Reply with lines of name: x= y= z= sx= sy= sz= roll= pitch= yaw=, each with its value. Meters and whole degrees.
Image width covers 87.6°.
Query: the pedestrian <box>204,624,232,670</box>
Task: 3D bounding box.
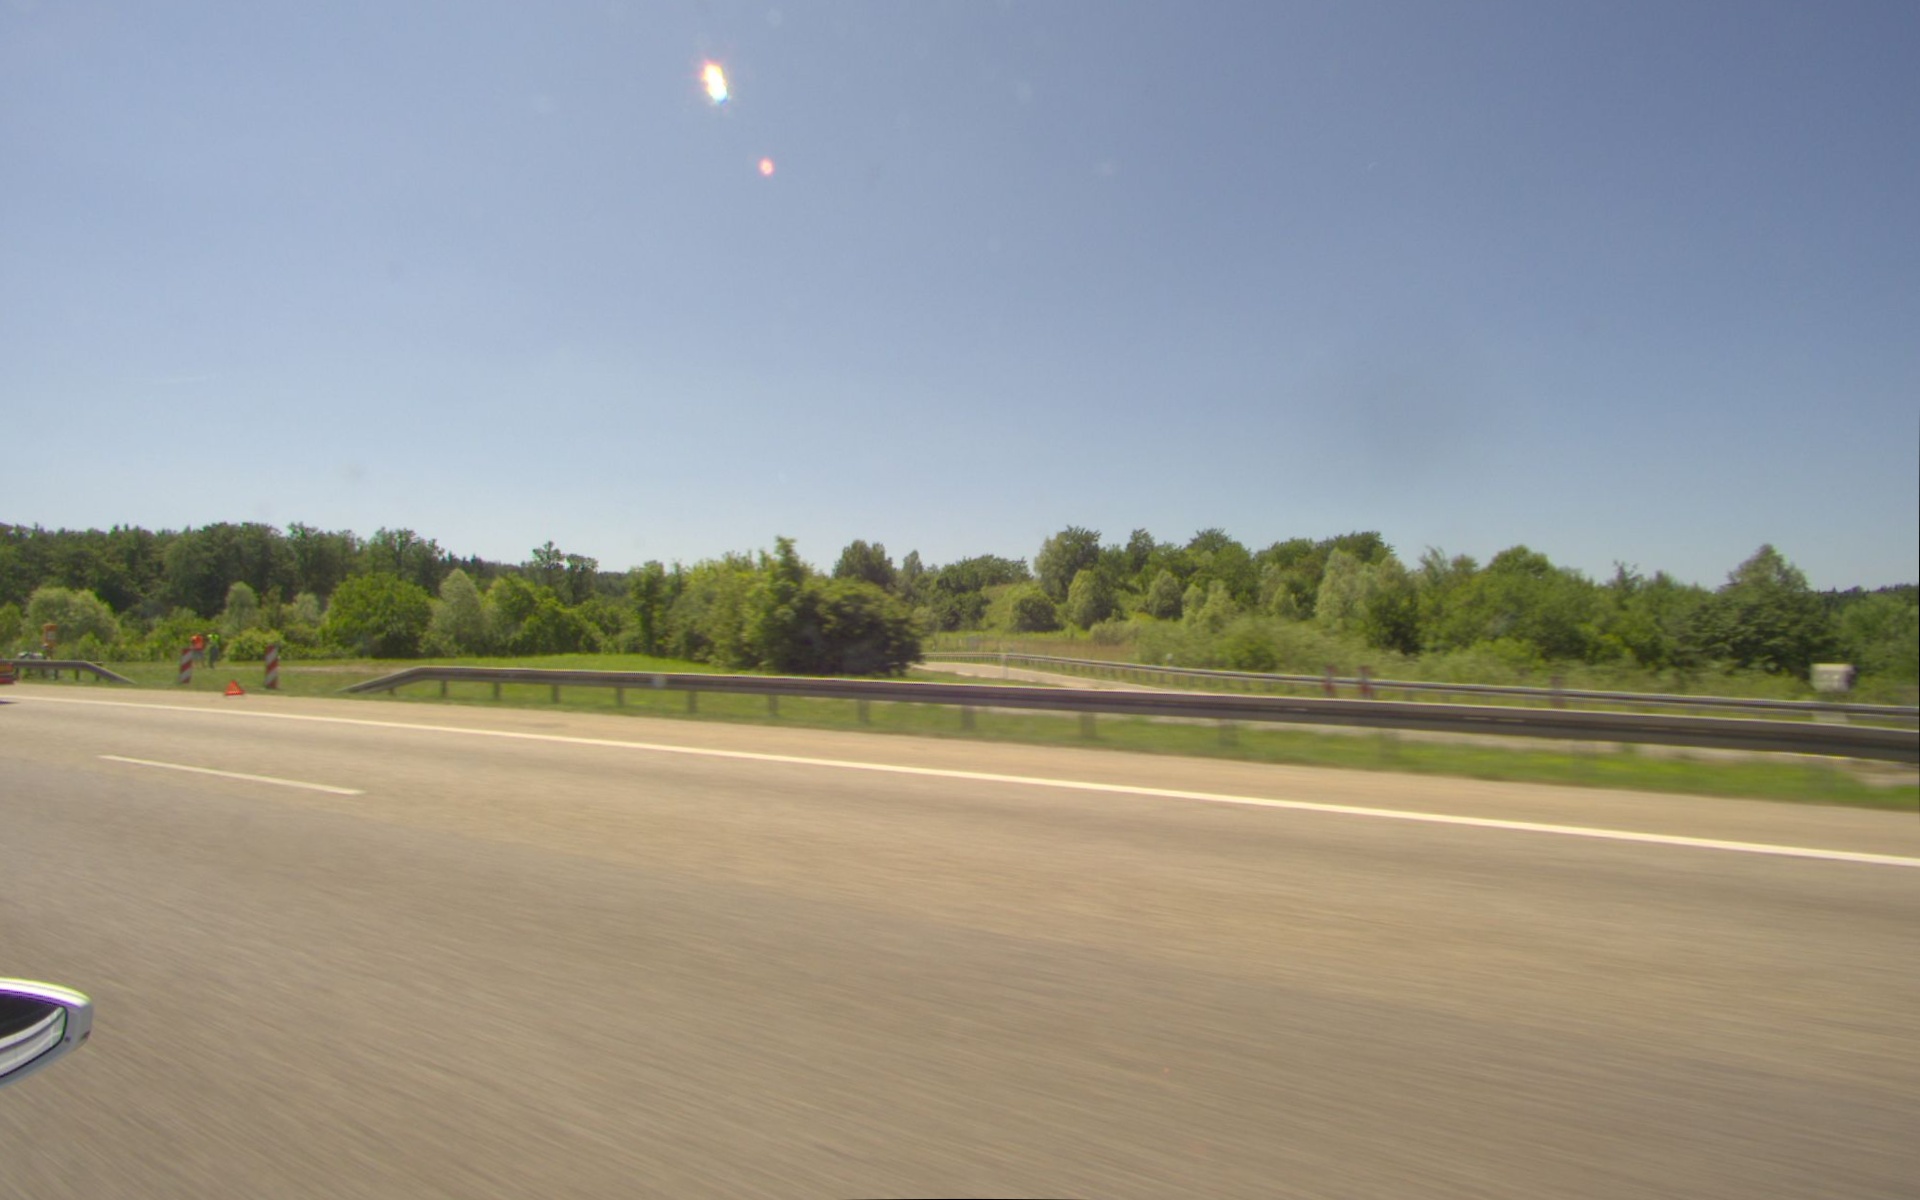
pedestrian: x=-34.622 y=2.185 z=46.721 sx=0.915 sy=2.104 sz=0.687 roll=-2 pitch=-4 yaw=32

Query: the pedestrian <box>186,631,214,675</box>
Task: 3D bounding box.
pedestrian: x=-36.840 y=2.569 z=48.537 sx=0.915 sy=2.104 sz=0.687 roll=-2 pitch=-4 yaw=32

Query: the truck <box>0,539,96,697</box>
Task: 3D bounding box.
truck: x=-25.496 y=0.486 z=25.507 sx=8.405 sy=3.620 sz=2.923 roll=-1 pitch=-2 yaw=33
